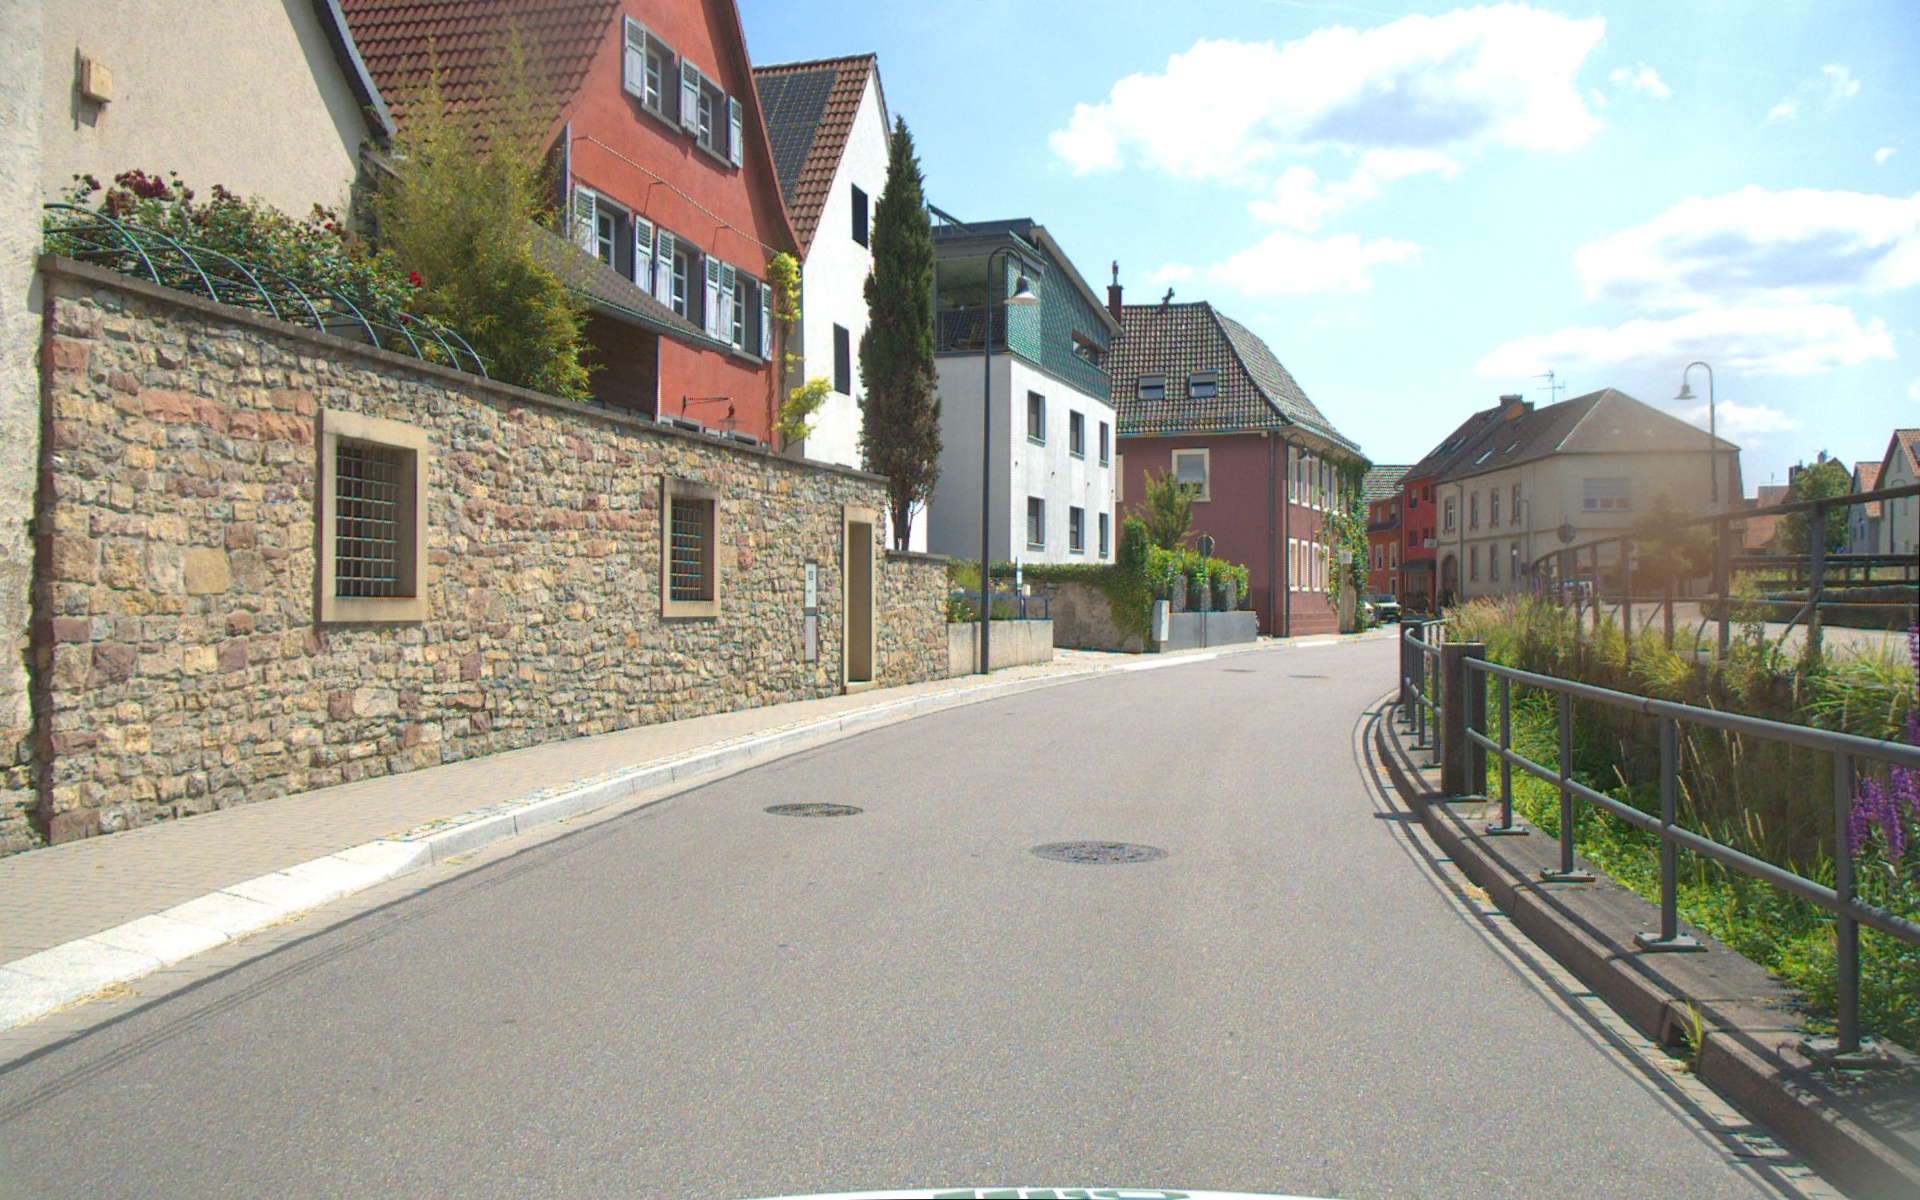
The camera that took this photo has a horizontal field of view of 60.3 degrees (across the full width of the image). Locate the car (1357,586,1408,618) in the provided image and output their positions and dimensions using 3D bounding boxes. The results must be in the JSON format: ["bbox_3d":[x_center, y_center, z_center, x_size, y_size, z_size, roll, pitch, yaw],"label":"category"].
[{"bbox_3d":[25.318,0.134,99.169,1.593,1.749,3.463,-2,-1,-11],"label":"car"}]

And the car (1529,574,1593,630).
[{"bbox_3d":[22.856,0.065,62.854,1.860,2.015,3.111,-3,-1,26],"label":"car"}]

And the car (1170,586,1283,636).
[{"bbox_3d":[9.141,0.347,56.722,3.494,1.430,1.651,4,2,24],"label":"car"}]
